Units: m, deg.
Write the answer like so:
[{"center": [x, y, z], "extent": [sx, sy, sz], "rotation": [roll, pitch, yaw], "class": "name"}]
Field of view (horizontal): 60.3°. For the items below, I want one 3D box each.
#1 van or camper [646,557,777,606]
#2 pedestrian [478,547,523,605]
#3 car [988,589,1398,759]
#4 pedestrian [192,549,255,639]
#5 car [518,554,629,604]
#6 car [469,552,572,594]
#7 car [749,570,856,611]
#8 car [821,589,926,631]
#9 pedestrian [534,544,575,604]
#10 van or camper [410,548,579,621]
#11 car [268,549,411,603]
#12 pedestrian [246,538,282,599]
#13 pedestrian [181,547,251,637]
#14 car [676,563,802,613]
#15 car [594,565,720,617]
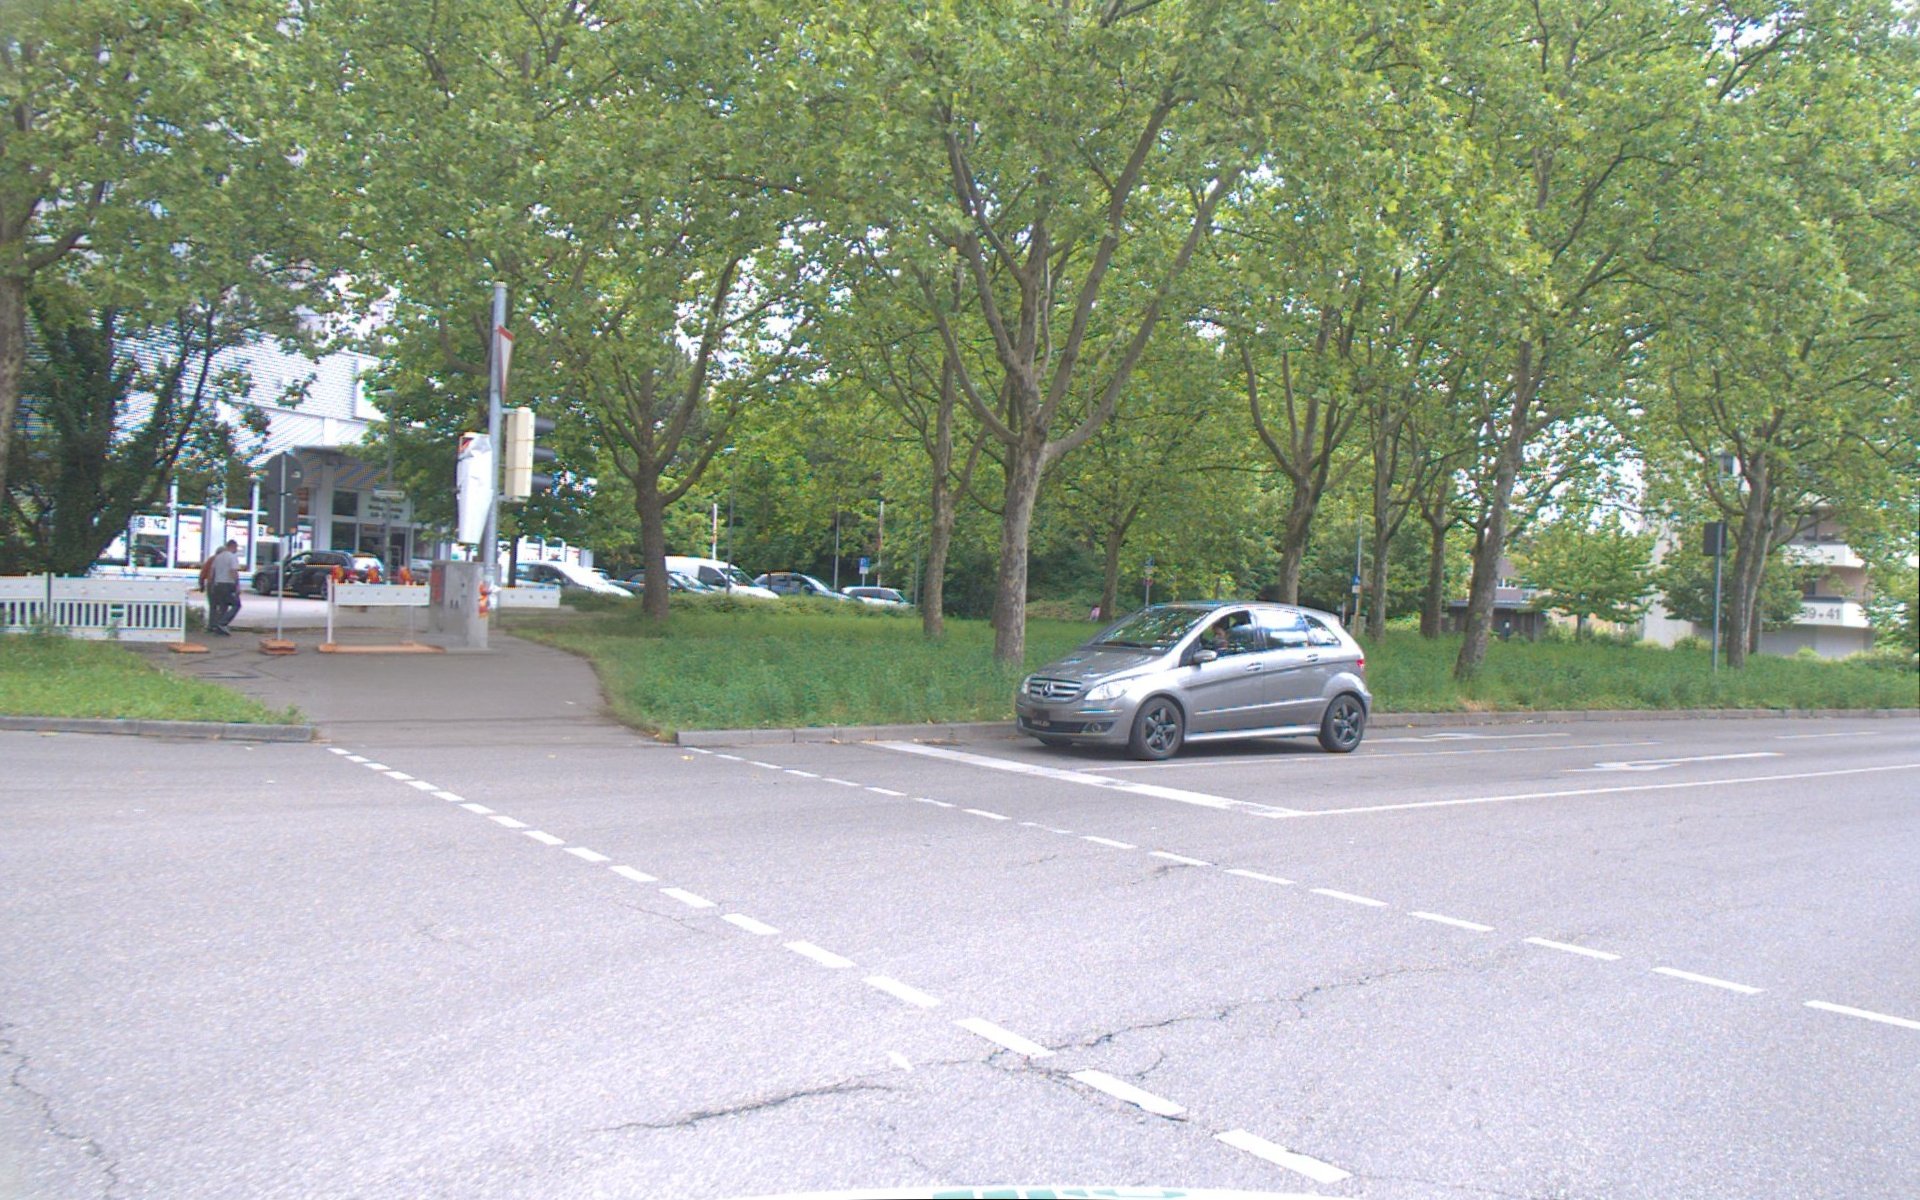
[{"center": [-7.564, -0.569, 50.410], "extent": [3.687, 1.380, 1.517], "rotation": [1, -1, 23], "class": "van or camper"}, {"center": [-15.418, -0.802, 55.473], "extent": [1.067, 1.904, 1.043], "rotation": [2, -1, -43], "class": "pedestrian"}, {"center": [2.563, 0.750, 17.710], "extent": [4.362, 1.614, 1.750], "rotation": [2, -1, -36], "class": "car"}, {"center": [-13.003, -0.104, 29.219], "extent": [0.755, 1.565, 0.655], "rotation": [1, -1, 26], "class": "pedestrian"}, {"center": [-14.384, -0.767, 61.516], "extent": [3.734, 1.663, 1.672], "rotation": [3, 0, 26], "class": "car"}, {"center": [-15.570, -0.959, 58.645], "extent": [3.330, 1.429, 1.484], "rotation": [1, -1, 25], "class": "car"}, {"center": [-5.313, -0.317, 55.791], "extent": [3.173, 1.277, 1.694], "rotation": [1, -1, 24], "class": "car"}, {"center": [-3.315, 0.385, 63.379], "extent": [3.662, 1.526, 1.731], "rotation": [1, -1, 29], "class": "car"}, {"center": [-11.212, -0.706, 45.679], "extent": [0.789, 1.614, 0.787], "rotation": [2, -1, -43], "class": "pedestrian"}, {"center": [-11.749, -0.413, 41.754], "extent": [3.911, 1.713, 1.843], "rotation": [2, 1, 28], "class": "van or camper"}, {"center": [-18.624, -0.722, 49.622], "extent": [4.175, 1.526, 1.731], "rotation": [1, -1, 29], "class": "car"}, {"center": [-20.581, -0.937, 48.891], "extent": [0.723, 1.776, 0.619], "rotation": [1, -1, 29], "class": "pedestrian"}, {"center": [-13.636, -0.148, 30.309], "extent": [0.780, 1.614, 0.848], "rotation": [1, -1, 34], "class": "pedestrian"}, {"center": [-7.131, -0.390, 53.265], "extent": [3.802, 1.491, 1.484], "rotation": [1, -1, 25], "class": "car"}, {"center": [-8.692, -0.258, 47.436], "extent": [3.331, 1.429, 1.483], "rotation": [1, -1, 26], "class": "car"}]
